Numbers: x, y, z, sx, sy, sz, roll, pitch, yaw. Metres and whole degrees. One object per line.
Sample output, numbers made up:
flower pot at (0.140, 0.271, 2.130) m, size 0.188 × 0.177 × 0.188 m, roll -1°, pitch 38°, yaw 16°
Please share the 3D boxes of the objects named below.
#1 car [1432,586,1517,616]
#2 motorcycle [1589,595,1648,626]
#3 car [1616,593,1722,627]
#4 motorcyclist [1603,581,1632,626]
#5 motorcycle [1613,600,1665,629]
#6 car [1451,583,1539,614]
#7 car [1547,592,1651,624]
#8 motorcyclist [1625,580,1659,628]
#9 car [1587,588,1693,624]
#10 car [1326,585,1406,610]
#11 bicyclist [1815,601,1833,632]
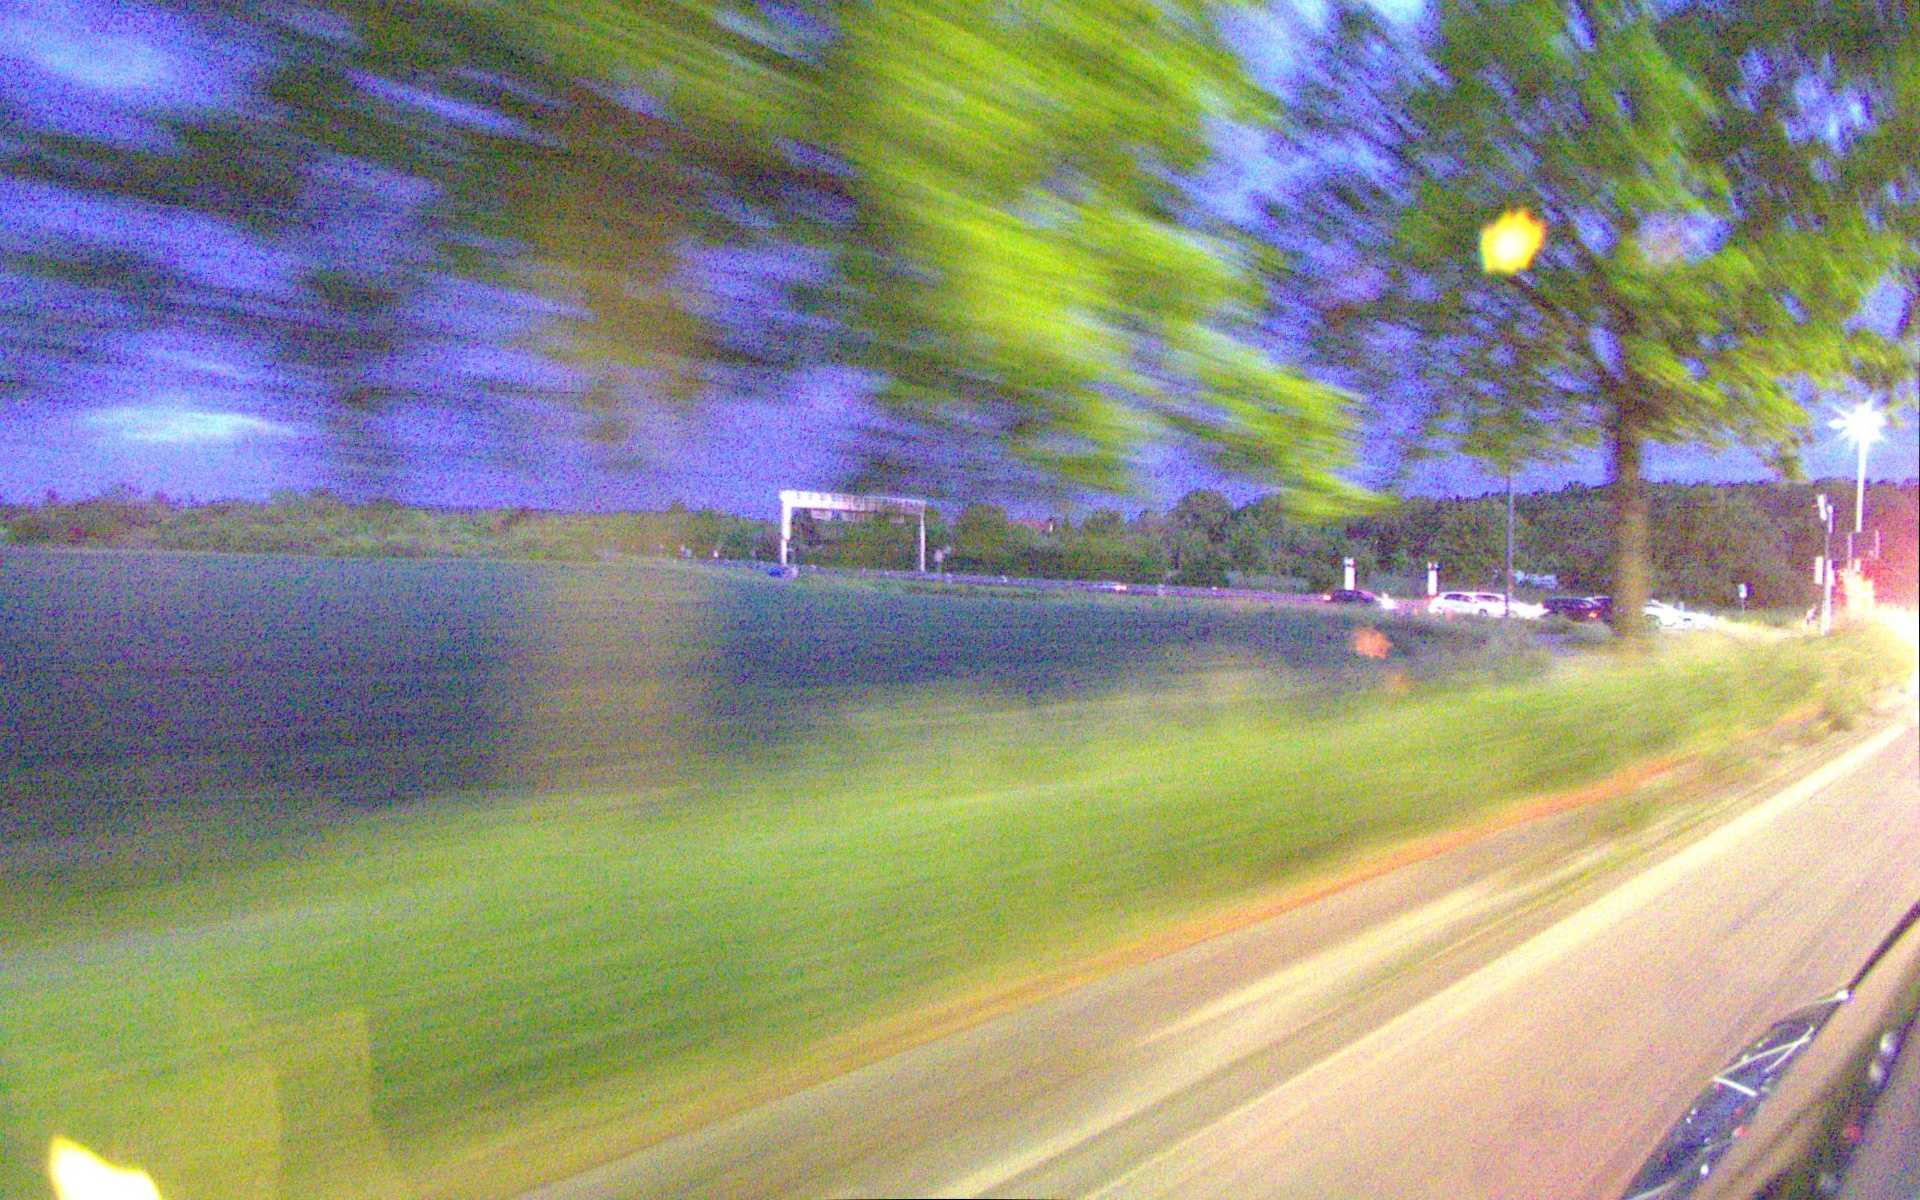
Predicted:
car at (30.081, 0.067, 59.240) m, size 1.804 × 1.543 × 3.999 m, roll 1°, pitch 2°, yaw -38°
motorcycle at (26.673, 0.425, 41.013) m, size 1.796 × 1.196 × 0.846 m, roll -2°, pitch 2°, yaw 17°
car at (40.272, 0.534, 57.561) m, size 1.823 × 1.653 × 4.584 m, roll 2°, pitch 1°, yaw -37°
motorcyclist at (26.632, 0.122, 41.014) m, size 0.779 × 1.780 × 0.681 m, roll -2°, pitch 2°, yaw 17°
motorcycle at (26.770, 0.563, 39.909) m, size 1.559 × 1.046 × 0.718 m, roll -2°, pitch 2°, yaw 23°
car at (32.661, -0.138, 61.885) m, size 1.718 × 1.646 × 4.362 m, roll 2°, pitch 1°, yaw -37°
car at (34.103, 0.399, 54.105) m, size 1.752 × 1.463 × 4.291 m, roll 2°, pitch 1°, yaw -36°
motorcyclist at (26.810, 0.158, 39.791) m, size 0.860 × 1.831 × 0.911 m, roll -3°, pitch 1°, yaw 22°
car at (37.295, 0.289, 55.619) m, size 1.879 × 1.703 × 4.419 m, roll 2°, pitch 1°, yaw -37°
car at (25.718, -0.168, 64.194) m, size 1.804 × 1.407 × 4.395 m, roll 1°, pitch 2°, yaw -38°
bicyclist at (48.022, 0.898, 56.261) m, size 0.983 × 1.672 × 0.602 m, roll 2°, pitch 0°, yaw -44°
